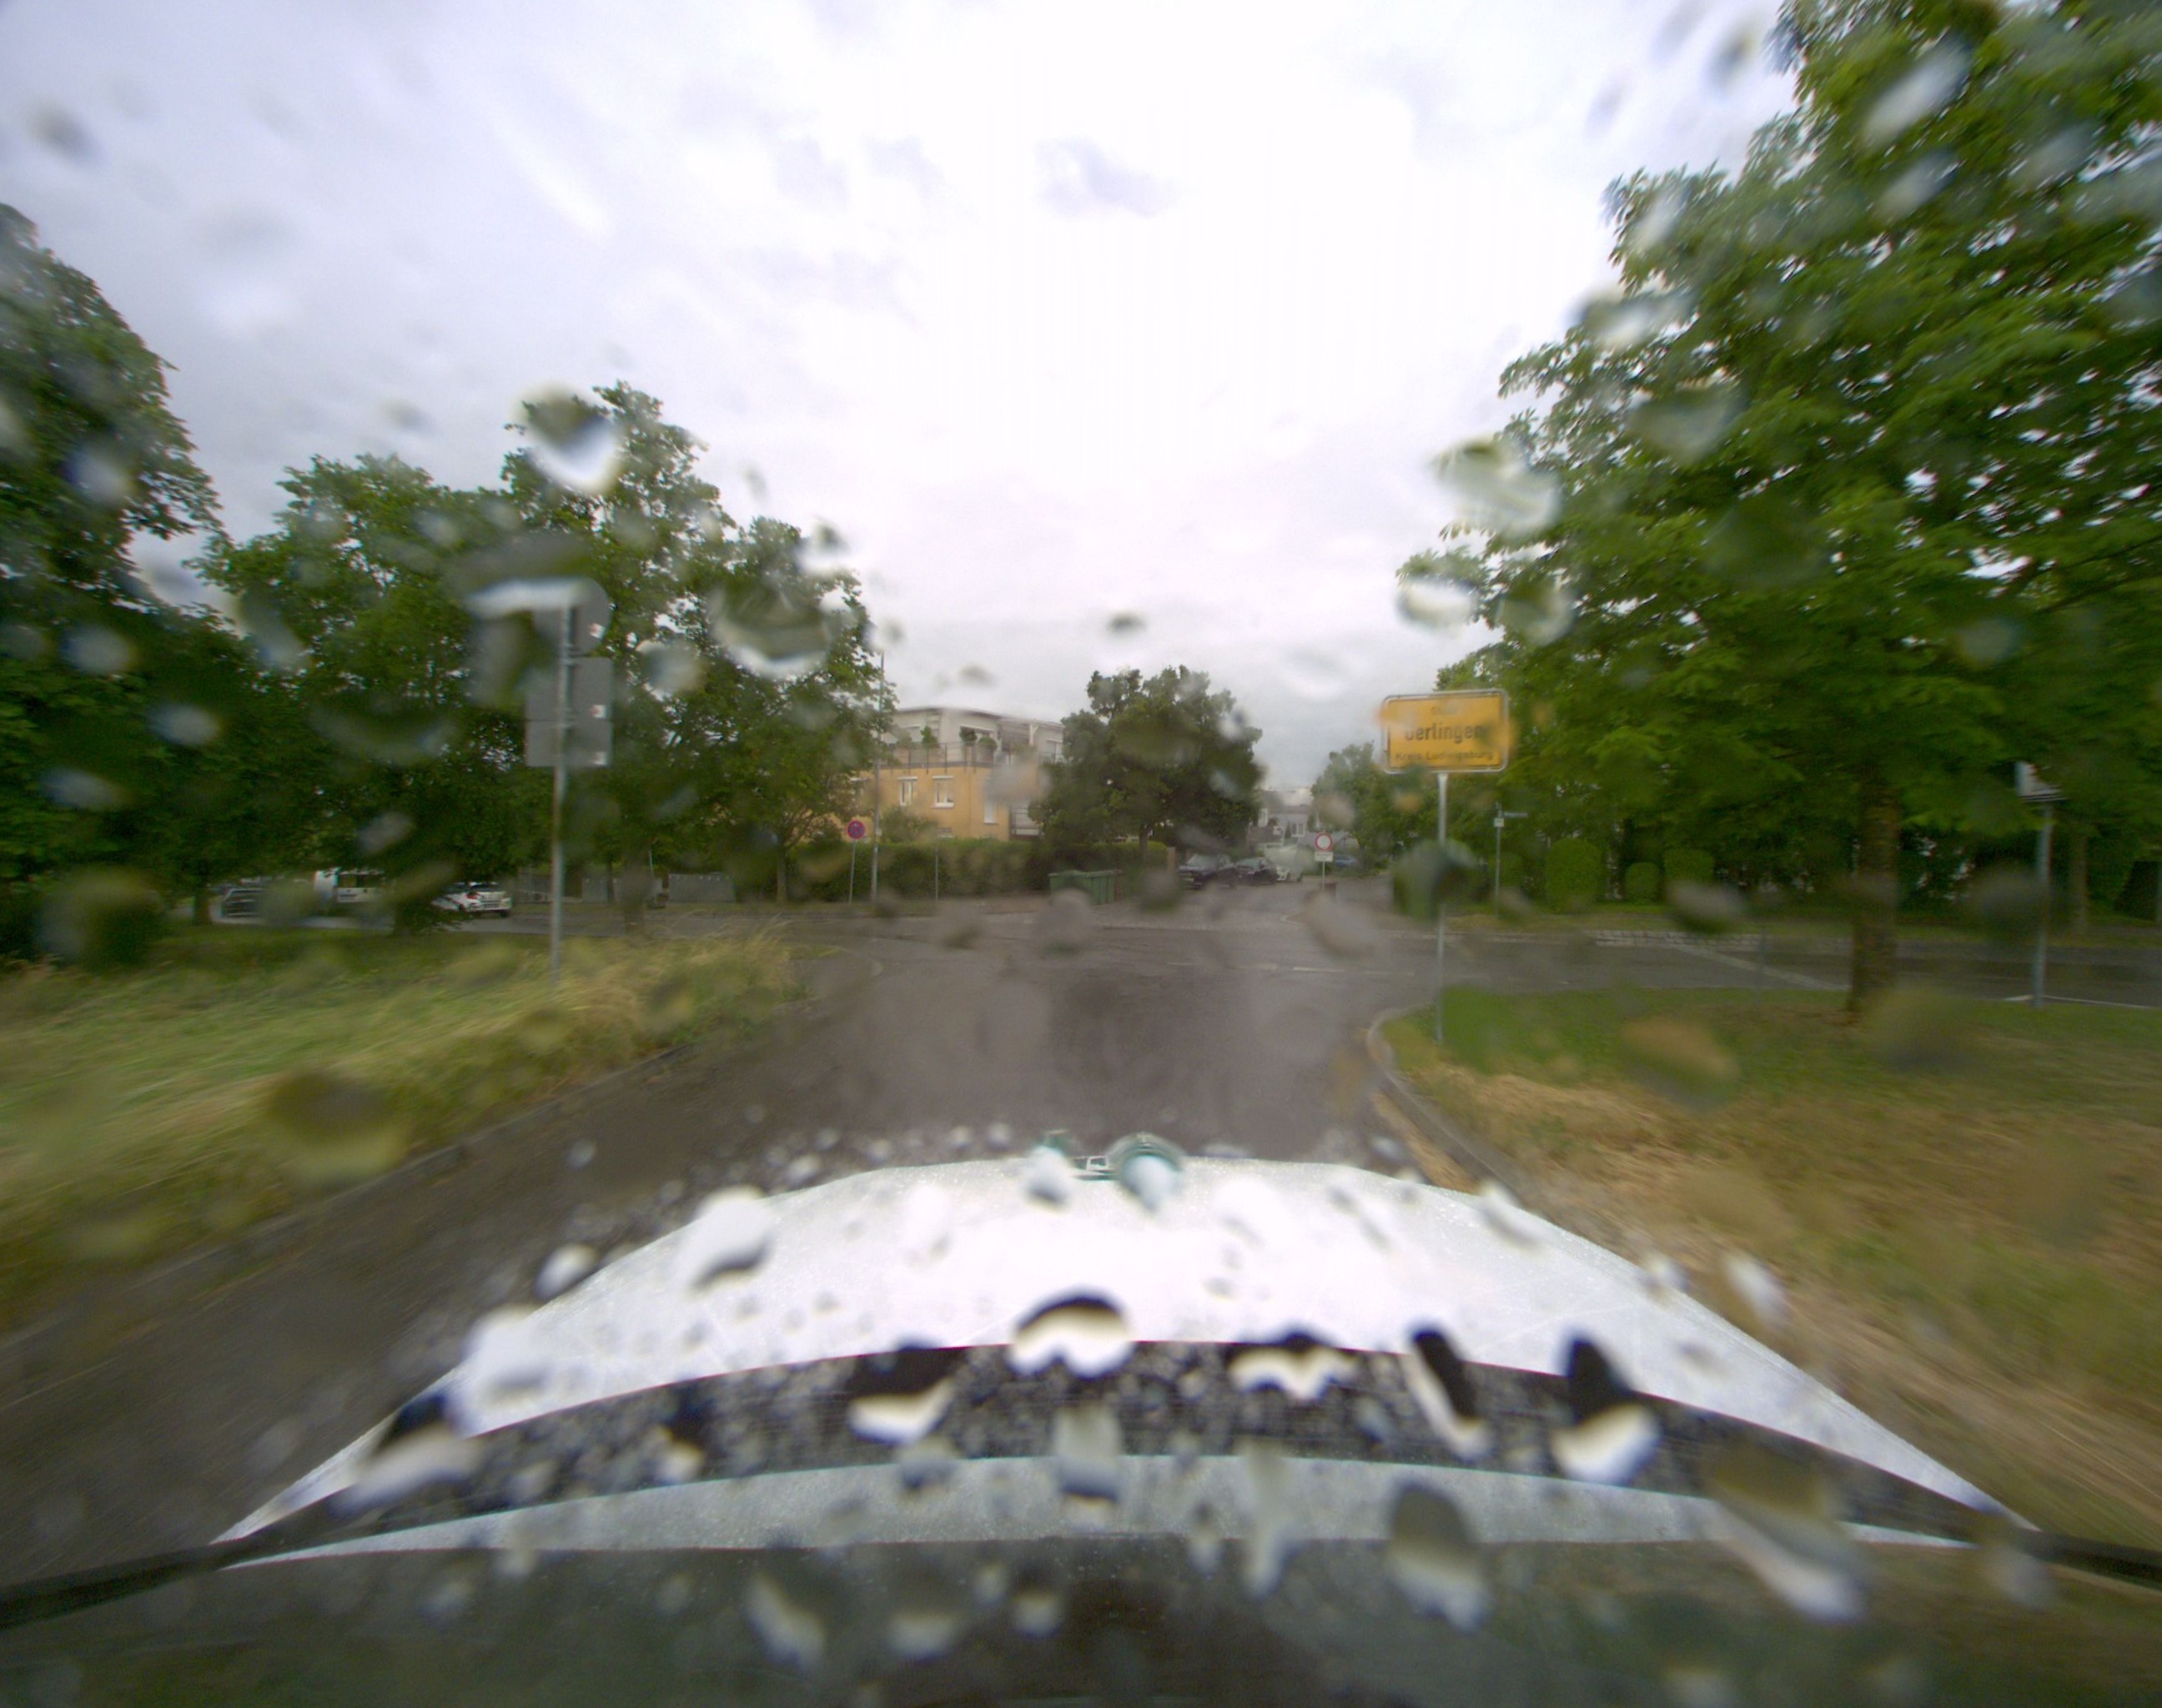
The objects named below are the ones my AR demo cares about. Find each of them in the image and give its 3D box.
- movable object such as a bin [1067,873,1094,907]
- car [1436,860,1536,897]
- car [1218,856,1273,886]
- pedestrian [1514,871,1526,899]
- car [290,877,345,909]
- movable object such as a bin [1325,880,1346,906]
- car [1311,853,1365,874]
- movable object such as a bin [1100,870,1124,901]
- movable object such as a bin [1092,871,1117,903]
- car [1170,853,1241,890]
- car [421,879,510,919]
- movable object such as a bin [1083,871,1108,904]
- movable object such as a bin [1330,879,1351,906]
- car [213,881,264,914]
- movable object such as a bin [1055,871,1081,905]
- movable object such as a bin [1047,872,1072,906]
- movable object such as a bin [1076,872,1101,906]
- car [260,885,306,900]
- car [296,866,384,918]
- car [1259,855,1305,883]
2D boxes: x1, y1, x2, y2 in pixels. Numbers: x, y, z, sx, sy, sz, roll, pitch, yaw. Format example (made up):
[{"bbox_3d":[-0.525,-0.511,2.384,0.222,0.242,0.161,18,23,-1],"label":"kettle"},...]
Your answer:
[{"bbox_3d":[-0.004,1.157,26.510,0.688,1.075,0.605,0,1,22],"label":"movable object such as a bin"},{"bbox_3d":[19.217,1.143,38.687,3.948,1.664,1.791,-1,0,38],"label":"car"},{"bbox_3d":[8.664,0.852,42.796,1.620,1.409,3.627,3,1,32],"label":"car"},{"bbox_3d":[19.911,1.402,36.957,0.422,1.230,0.424,0,-1,38],"label":"pedestrian"},{"bbox_3d":[-41.925,2.098,44.682,3.649,1.552,1.702,0,1,39],"label":"car"},{"bbox_3d":[9.262,1.419,29.669,0.565,0.931,0.533,1,0,35],"label":"movable object such as a bin"},{"bbox_3d":[21.215,0.795,67.145,3.950,1.568,1.920,2,0,26],"label":"car"},{"bbox_3d":[1.093,1.122,28.914,0.688,1.055,0.609,0,1,22],"label":"movable object such as a bin"},{"bbox_3d":[0.822,1.131,28.208,0.688,1.055,0.609,0,1,22],"label":"movable object such as a bin"},{"bbox_3d":[5.804,0.778,37.590,1.759,1.518,4.163,3,1,30],"label":"car"},{"bbox_3d":[-24.999,1.817,33.059,3.678,1.503,1.621,-2,-2,31],"label":"car"},{"bbox_3d":[0.501,1.138,27.651,0.688,1.067,0.582,0,1,22],"label":"movable object such as a bin"},{"bbox_3d":[9.603,1.424,30.142,0.565,0.931,0.533,1,0,35],"label":"movable object such as a bin"},{"bbox_3d":[-43.898,2.215,42.400,3.650,1.552,1.702,0,-1,42],"label":"car"},{"bbox_3d":[-0.444,1.136,27.322,0.688,1.072,0.601,0,1,22],"label":"movable object such as a bin"},{"bbox_3d":[-0.715,1.157,26.756,0.659,1.073,0.547,0,1,23],"label":"movable object such as a bin"},{"bbox_3d":[0.259,1.151,27.077,0.688,1.075,0.546,0,1,22],"label":"movable object such as a bin"},{"bbox_3d":[-93.026,4.478,94.945,3.589,1.605,1.674,-2,0,-36],"label":"car"},{"bbox_3d":[-37.719,1.898,41.428,5.438,2.467,2.138,-2,-2,35],"label":"car"},{"bbox_3d":[11.620,0.853,47.043,1.496,1.476,3.294,3,1,33],"label":"car"}]
